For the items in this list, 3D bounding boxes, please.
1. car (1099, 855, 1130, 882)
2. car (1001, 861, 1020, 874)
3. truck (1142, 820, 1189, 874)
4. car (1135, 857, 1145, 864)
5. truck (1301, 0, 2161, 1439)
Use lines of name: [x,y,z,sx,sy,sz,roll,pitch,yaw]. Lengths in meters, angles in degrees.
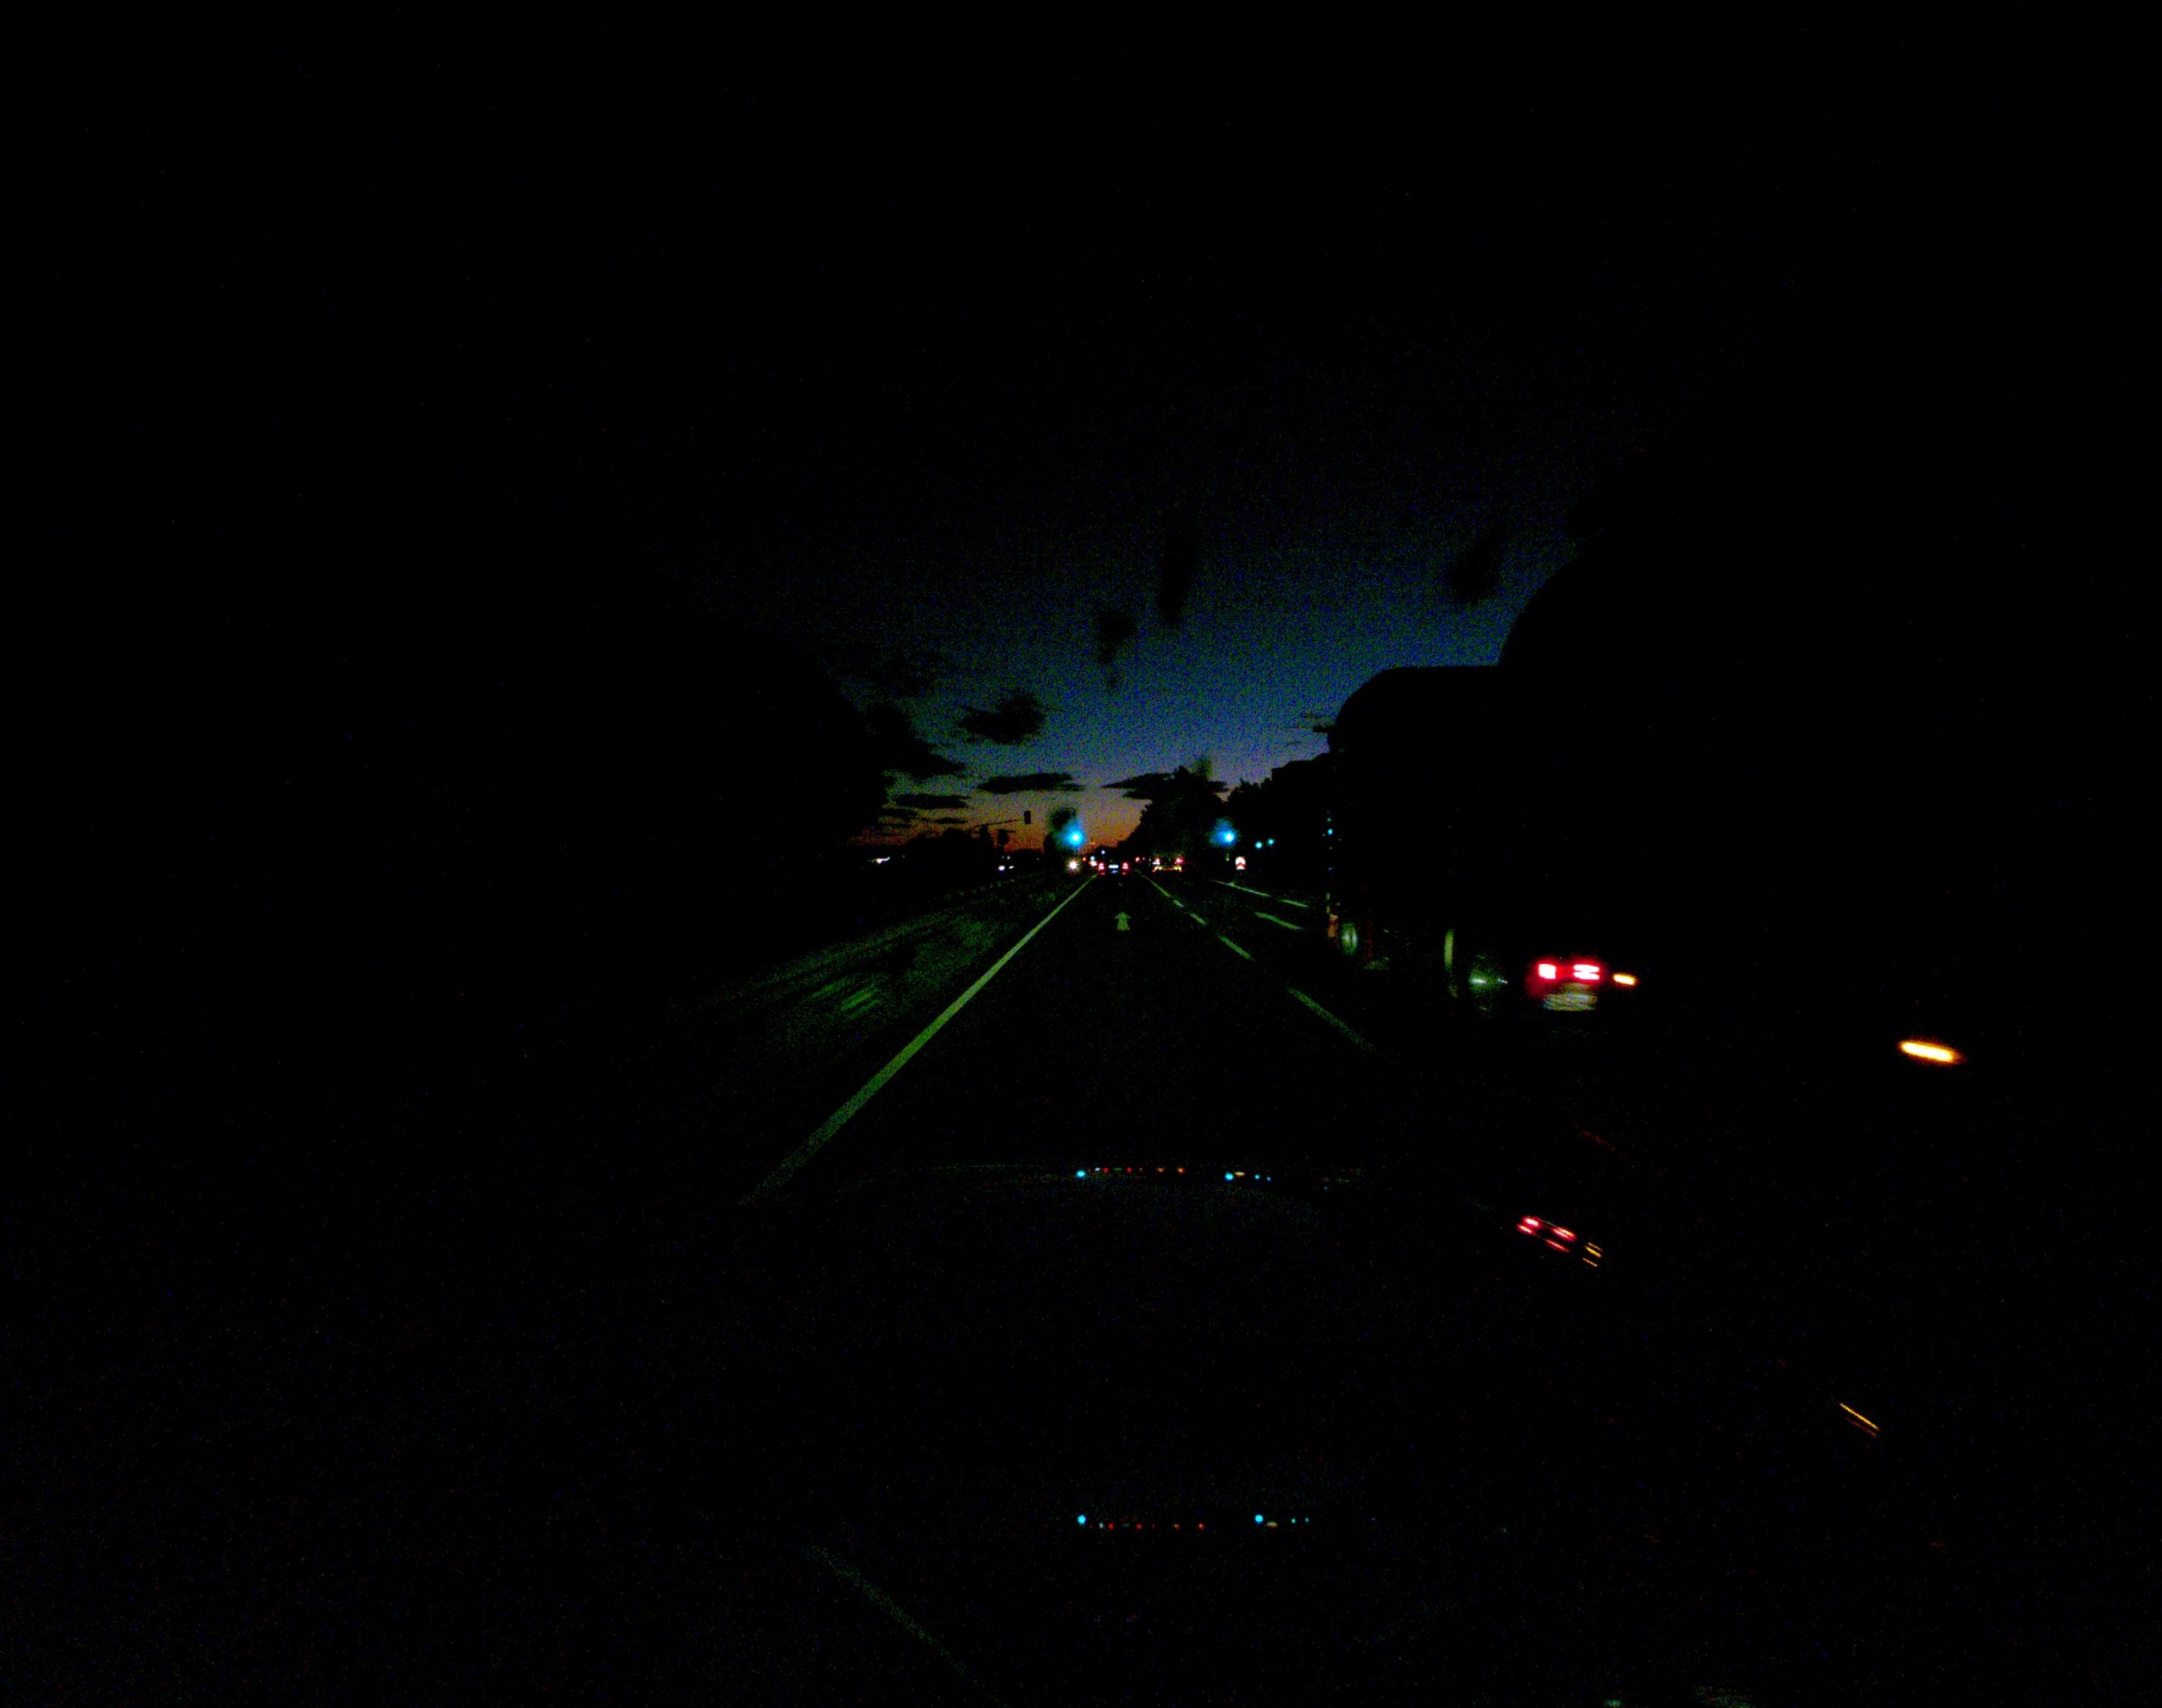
car: [1.897,0.800,46.795,1.689,1.452,3.915,-1,0,1]
car: [-7.733,1.474,89.247,1.599,1.330,3.940,-3,0,1]
truck: [6.956,-0.489,68.785,2.872,4.106,12.686,-1,0,1]
car: [11.795,1.309,162.955,1.689,1.452,3.915,-1,0,1]
truck: [4.176,-0.609,5.214,2.676,4.106,13.152,-1,0,3]
